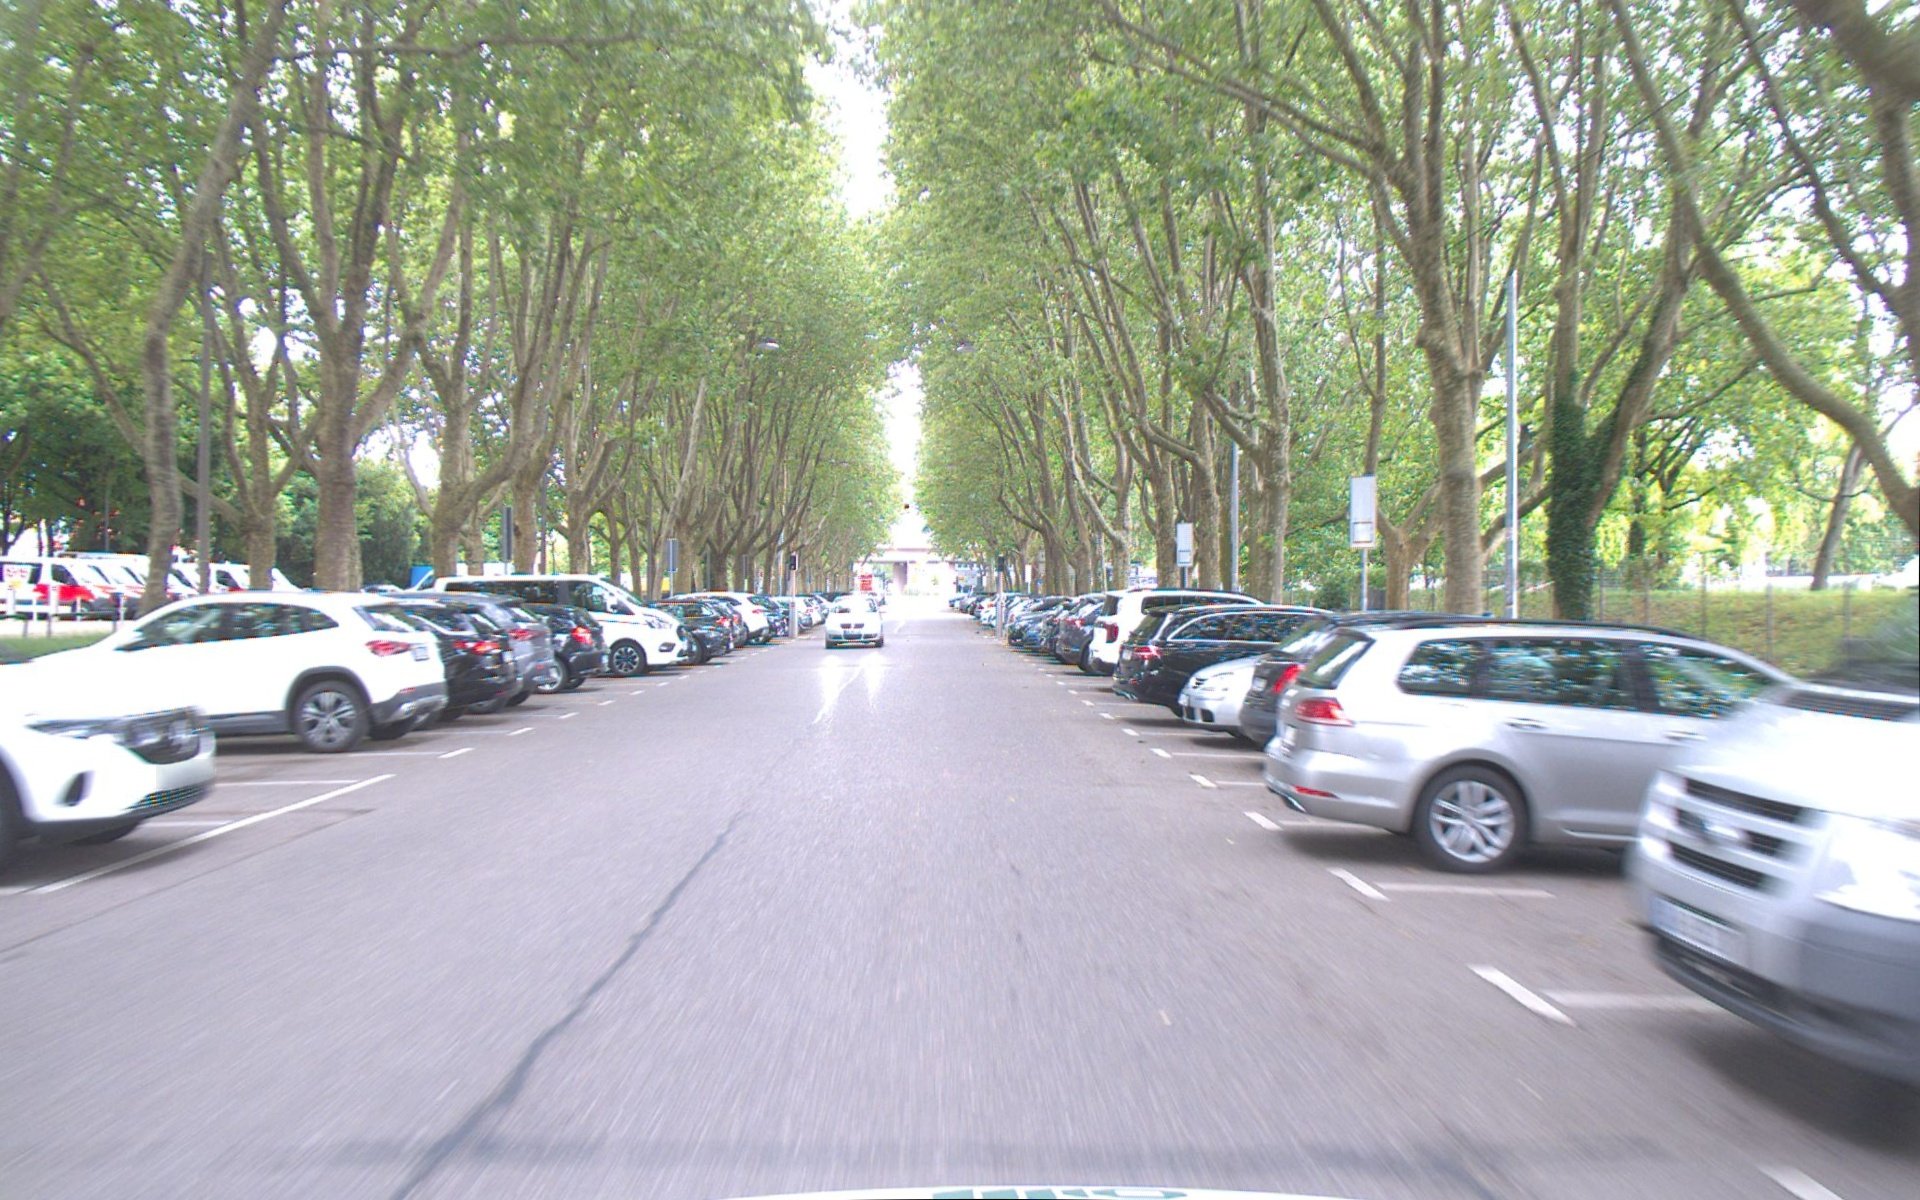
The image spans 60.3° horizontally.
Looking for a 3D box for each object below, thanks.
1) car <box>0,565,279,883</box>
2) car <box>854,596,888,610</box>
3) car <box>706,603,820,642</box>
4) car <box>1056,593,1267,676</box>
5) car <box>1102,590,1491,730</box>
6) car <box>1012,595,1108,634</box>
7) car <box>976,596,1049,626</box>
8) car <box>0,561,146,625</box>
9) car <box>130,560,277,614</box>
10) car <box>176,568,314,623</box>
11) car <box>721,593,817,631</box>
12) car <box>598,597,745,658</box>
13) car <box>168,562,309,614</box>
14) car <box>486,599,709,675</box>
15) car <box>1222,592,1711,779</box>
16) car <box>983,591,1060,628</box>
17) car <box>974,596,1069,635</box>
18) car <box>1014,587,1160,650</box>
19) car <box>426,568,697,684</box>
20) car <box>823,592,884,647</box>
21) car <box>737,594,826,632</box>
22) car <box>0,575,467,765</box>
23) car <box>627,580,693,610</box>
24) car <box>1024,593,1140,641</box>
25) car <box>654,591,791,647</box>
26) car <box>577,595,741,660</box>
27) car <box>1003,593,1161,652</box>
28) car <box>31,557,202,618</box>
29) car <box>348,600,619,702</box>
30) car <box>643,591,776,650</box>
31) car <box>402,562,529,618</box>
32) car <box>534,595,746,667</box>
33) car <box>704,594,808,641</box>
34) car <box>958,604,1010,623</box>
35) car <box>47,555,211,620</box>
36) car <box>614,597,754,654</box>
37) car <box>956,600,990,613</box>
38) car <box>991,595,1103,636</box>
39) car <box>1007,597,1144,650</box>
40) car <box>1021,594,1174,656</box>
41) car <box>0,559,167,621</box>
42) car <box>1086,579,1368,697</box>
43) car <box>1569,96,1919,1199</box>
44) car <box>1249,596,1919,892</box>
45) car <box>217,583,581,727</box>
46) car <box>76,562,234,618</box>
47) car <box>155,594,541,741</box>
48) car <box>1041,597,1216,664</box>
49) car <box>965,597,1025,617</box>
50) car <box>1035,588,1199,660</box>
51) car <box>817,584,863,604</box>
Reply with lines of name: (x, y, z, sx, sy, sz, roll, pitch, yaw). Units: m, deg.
car: (-6.463, 0.683, 9.429, 4.292, 1.625, 1.999, -2, 0, -3)
car: (-10.121, 0.297, 189.132, 3.734, 1.542, 1.686, 1, 0, 2)
car: (-7.671, 0.883, 64.676, 4.314, 1.388, 1.693, -1, 0, -4)
car: (3.938, 0.658, 32.706, 3.907, 1.512, 1.693, 1, 0, -3)
car: (4.081, 0.716, 20.476, 4.412, 1.552, 1.702, 1, 0, -3)
car: (4.088, 0.605, 67.886, 3.702, 1.495, 1.622, 1, 0, -5)
car: (2.682, 0.572, 85.438, 3.574, 1.449, 1.983, 1, 0, -5)
car: (-34.349, -0.276, 62.712, 5.880, 2.292, 1.999, 1, 0, -2)
car: (-35.441, -0.605, 77.562, 5.880, 2.370, 1.999, 1, 0, -2)
car: (-35.521, -0.220, 82.291, 5.880, 2.571, 1.999, 1, 0, -2)
car: (-7.734, 0.482, 67.111, 3.752, 1.455, 1.693, -1, 0, -4)
car: (-7.834, 0.738, 45.113, 3.681, 1.500, 1.863, -2, 0, -3)
car: (-34.861, -0.556, 79.996, 5.880, 2.345, 1.999, 1, 0, -2)
car: (-7.685, 0.767, 35.373, 4.359, 1.478, 1.773, -2, 0, -2)
car: (4.610, 0.749, 15.434, 3.964, 1.552, 1.814, 1, 0, -3)
car: (2.978, 0.460, 80.274, 3.574, 1.696, 1.518, 1, 0, -5)
car: (2.776, 0.700, 75.097, 4.085, 1.624, 1.853, 1, 0, -5)
car: (3.609, 0.519, 47.595, 4.030, 1.699, 1.694, 1, 0, -1)
car: (-7.710, 0.489, 32.342, 4.795, 2.054, 1.919, -2, 0, -2)
car: (-3.064, 0.532, 48.068, 1.655, 1.497, 3.837, -1, 0, -3)
car: (-7.777, 0.551, 72.338, 3.752, 1.523, 1.693, -1, 0, -4)
car: (-7.566, 0.678, 17.207, 4.254, 1.697, 1.999, -2, 0, -3)
car: (-23.920, -0.388, 132.103, 4.976, 2.271, 1.535, 1, 0, -3)
car: (4.040, 0.565, 55.231, 3.699, 1.495, 1.666, 1, 0, -2)
car: (-7.435, 0.572, 51.951, 3.984, 1.636, 1.799, -1, 0, 1)
car: (-7.586, 0.680, 41.976, 3.917, 1.497, 1.536, -1, 0, -4)
car: (3.317, 0.603, 45.387, 4.127, 1.476, 1.610, 1, 0, -3)
car: (-34.512, -0.509, 67.810, 5.880, 2.358, 1.999, 1, 0, -2)
car: (-7.672, 0.807, 26.914, 3.908, 1.438, 1.682, -2, 0, -4)
car: (-7.450, 0.597, 49.531, 3.752, 1.656, 1.951, -1, 0, -4)
car: (-24.656, -0.497, 82.654, 5.668, 2.642, 2.000, 1, 0, -1)
car: (-7.192, 0.683, 37.434, 4.355, 1.478, 1.775, -2, 0, 3)
car: (-7.615, 0.638, 62.013, 3.752, 1.636, 1.693, -1, 0, -4)
car: (1.971, 1.060, 134.320, 4.088, 1.467, 1.732, 1, 0, 3)
car: (-35.334, -0.527, 70.407, 5.880, 2.571, 1.999, 1, 0, -2)
car: (-7.831, 0.706, 47.140, 3.752, 1.497, 1.693, -1, 0, -4)
car: (1.649, 0.768, 208.826, 4.287, 1.549, 1.731, 1, 0, -1)
car: (3.399, 0.599, 65.075, 4.213, 1.495, 1.622, 1, 0, -5)
car: (3.491, 0.692, 50.536, 4.030, 1.495, 1.694, 1, 0, -2)
car: (3.524, 0.630, 42.853, 3.750, 1.481, 1.693, 1, 0, -3)
car: (-34.710, -0.393, 65.174, 5.880, 2.292, 1.999, 1, 0, -2)
car: (4.347, 0.609, 27.358, 4.297, 1.786, 1.800, 1, 0, -3)
car: (4.826, 0.206, 5.093, 5.122, 2.736, 1.957, 2, 0, -1)
car: (3.957, 0.821, 10.090, 4.035, 1.454, 1.703, 3, 0, 0)
car: (-7.536, 0.710, 22.584, 4.254, 1.697, 1.999, -2, 0, -3)
car: (-35.314, -0.428, 72.693, 5.880, 2.279, 1.999, 1, 0, -2)
car: (-7.210, 0.763, 19.821, 3.908, 1.501, 1.841, -2, 0, -4)
car: (3.819, 0.687, 37.799, 3.750, 1.413, 1.693, 1, 0, -3)
car: (2.725, 0.533, 127.042, 4.478, 1.512, 2.001, 1, 0, 3)
car: (3.797, 0.565, 40.428, 3.750, 1.635, 1.693, 1, 0, -3)
car: (-10.403, -0.498, 143.911, 3.734, 1.630, 1.787, -2, 0, 4)
